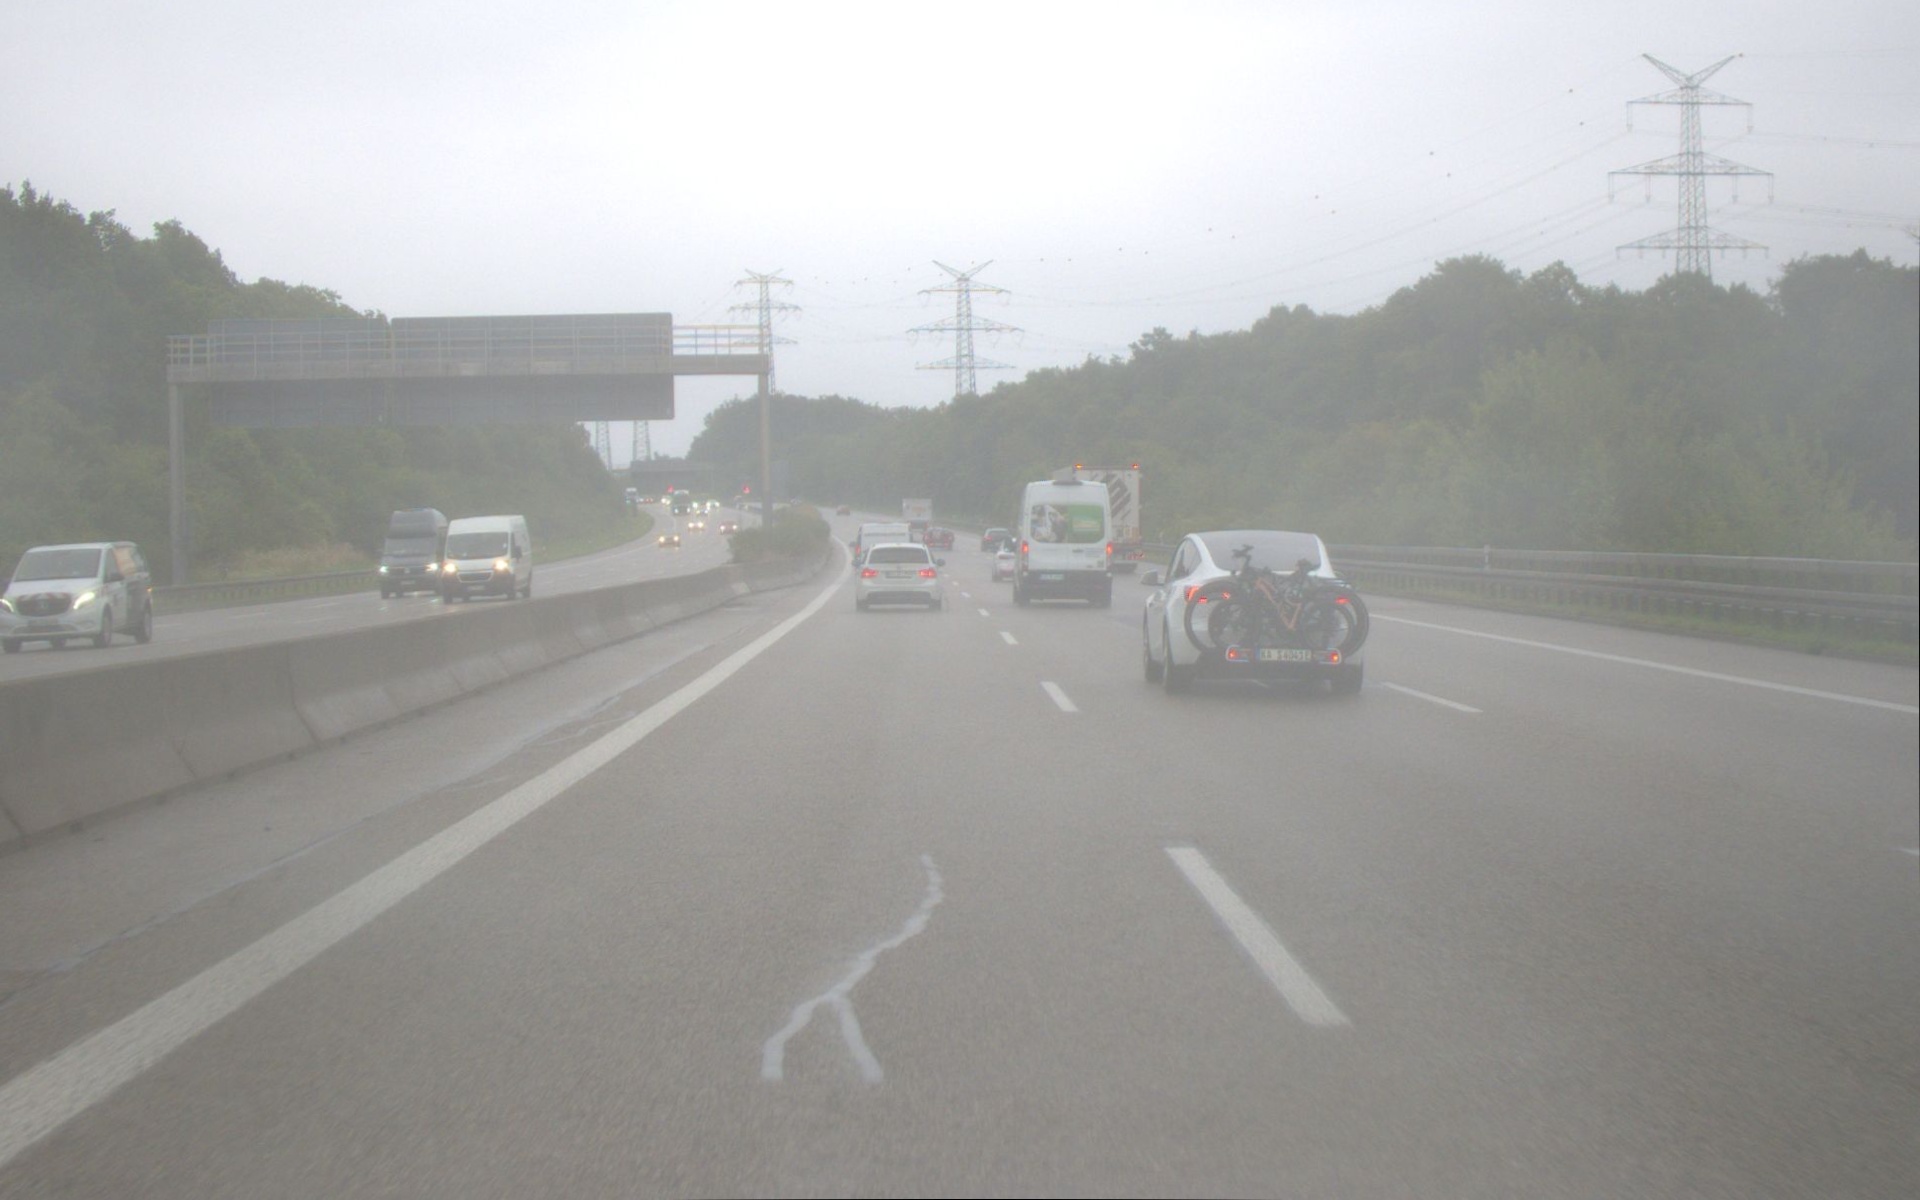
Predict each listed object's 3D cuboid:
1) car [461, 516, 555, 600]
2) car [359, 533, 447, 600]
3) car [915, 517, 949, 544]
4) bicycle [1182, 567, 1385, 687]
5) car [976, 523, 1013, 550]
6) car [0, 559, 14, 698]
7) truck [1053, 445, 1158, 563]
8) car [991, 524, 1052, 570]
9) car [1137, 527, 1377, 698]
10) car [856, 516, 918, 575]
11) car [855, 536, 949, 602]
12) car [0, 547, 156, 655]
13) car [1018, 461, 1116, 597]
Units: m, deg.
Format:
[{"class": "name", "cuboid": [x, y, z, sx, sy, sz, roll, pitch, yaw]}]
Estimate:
[{"class": "car", "cuboid": [-13.149, -1.249, 100.403, 2.276, 2.323, 6.176, -1, 1, -4]}, {"class": "car", "cuboid": [-18.919, -1.160, 117.008, 1.993, 2.160, 6.417, -1, 1, -1]}, {"class": "car", "cuboid": [-1.739, -4.297, 213.437, 1.993, 1.568, 4.000, -2, 1, -1]}, {"class": "bicycle", "cuboid": [2.956, 0.238, 31.540, 1.753, 1.087, 0.914, 0, 0, -2]}, {"class": "car", "cuboid": [2.088, -3.852, 208.601, 1.993, 1.481, 4.000, -3, 1, -2]}, {"class": "car", "cuboid": [-10.574, 0.351, 33.345, 1.634, 1.407, 4.367, -2, 1, -1]}, {"class": "truck", "cuboid": [5.548, -3.690, 133.723, 3.603, 4.317, 13.200, 0, 1, 1]}, {"class": "car", "cuboid": [1.956, -1.713, 109.621, 1.857, 1.417, 4.000, 0, 2, 0]}, {"class": "car", "cuboid": [2.898, 0.064, 34.503, 1.860, 1.562, 4.964, 0, 1, -1]}, {"class": "car", "cuboid": [-2.246, -1.679, 106.108, 1.846, 1.766, 4.000, 1, 1, -1]}, {"class": "car", "cuboid": [-1.211, -0.661, 71.616, 1.866, 1.284, 4.000, -1, 1, -1]}, {"class": "car", "cuboid": [-16.316, -0.018, 63.787, 1.741, 1.897, 4.530, -1, 1, -1]}, {"class": "car", "cuboid": [2.336, -1.558, 75.762, 1.993, 2.854, 4.000, -1, 1, 0]}]
